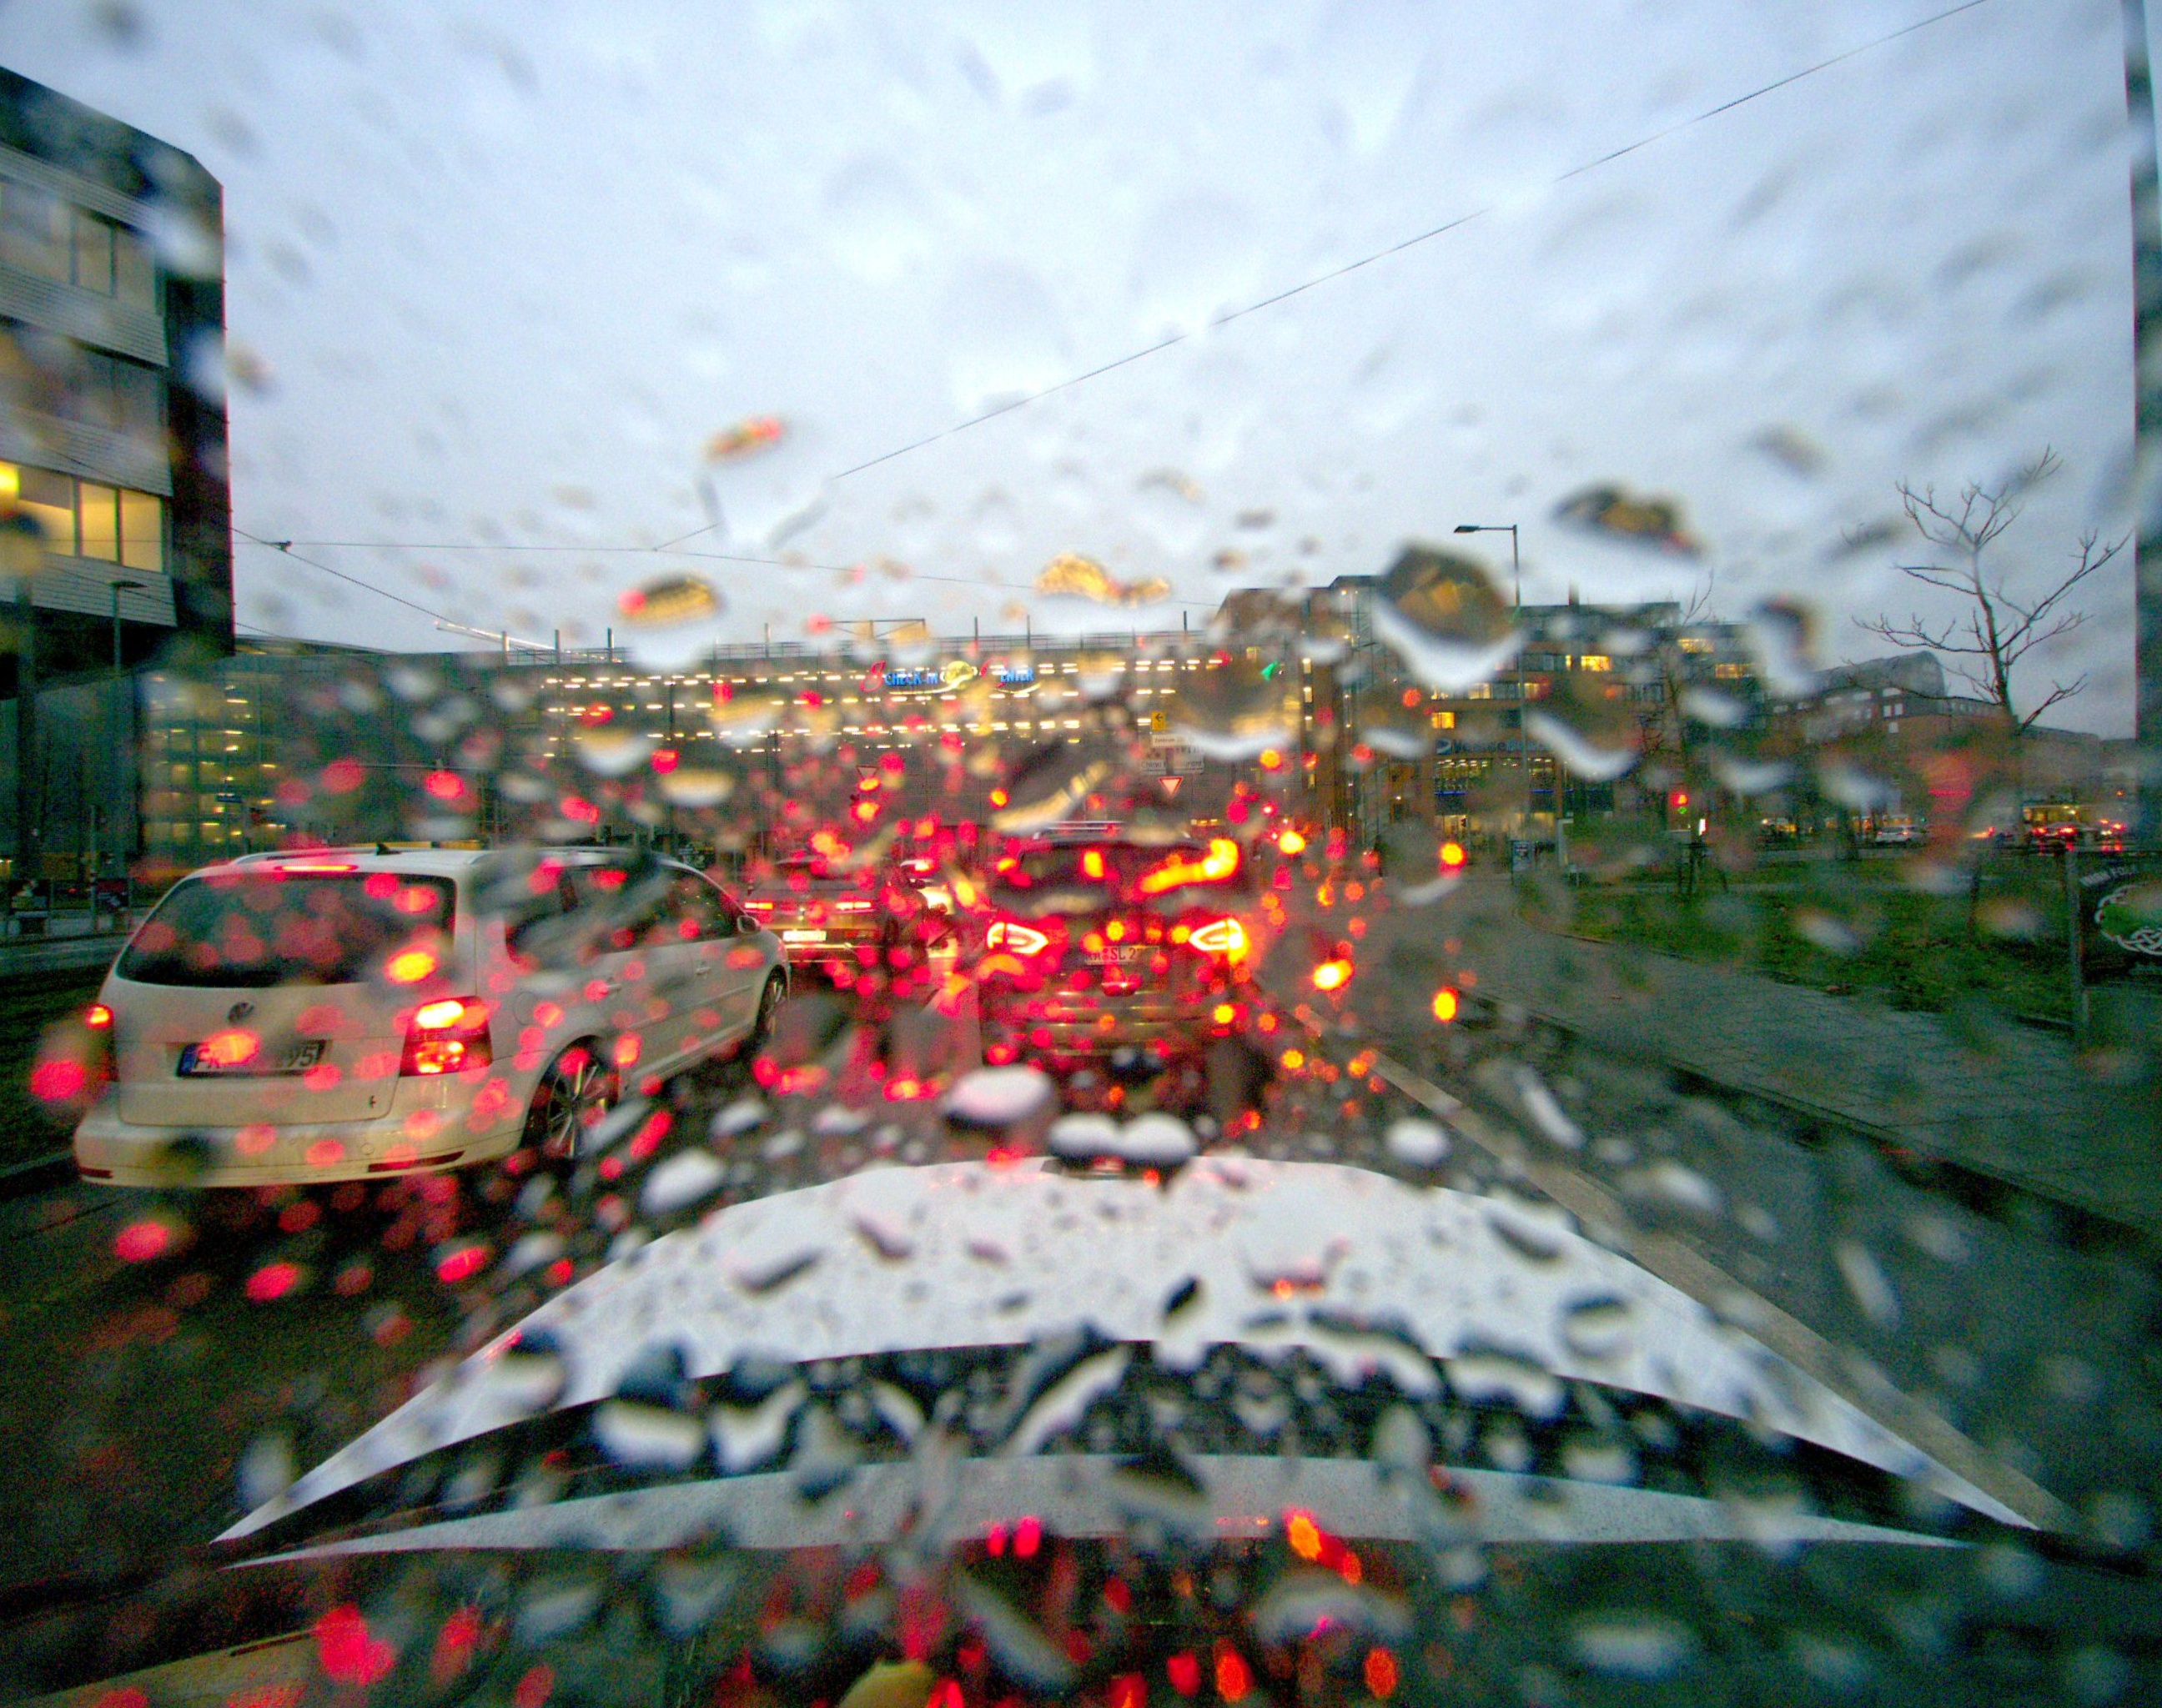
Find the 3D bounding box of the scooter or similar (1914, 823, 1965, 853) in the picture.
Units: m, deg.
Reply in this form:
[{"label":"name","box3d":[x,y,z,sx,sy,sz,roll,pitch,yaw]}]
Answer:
[{"label":"scooter or similar","box3d":[36.416,-0.663,34.548,1.548,1.227,0.669,0,-1,-4]}]

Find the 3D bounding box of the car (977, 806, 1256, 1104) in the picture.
[{"label":"car","box3d":[0.265,0.598,6.880,1.668,1.779,4.001,0,0,1]}]

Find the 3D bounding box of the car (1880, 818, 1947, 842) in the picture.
[{"label":"car","box3d":[56.466,-1.639,55.239,3.681,1.496,1.635,-2,0,-17]}]

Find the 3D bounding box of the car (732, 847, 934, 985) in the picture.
[{"label":"car","box3d":[-3.318,0.727,11.799,1.817,1.570,4.355,-2,0,-4]}]

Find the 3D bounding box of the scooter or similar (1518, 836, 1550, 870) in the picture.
[{"label":"scooter or similar","box3d":[16.956,-0.045,30.482,1.312,1.206,0.331,-2,0,-27]}]

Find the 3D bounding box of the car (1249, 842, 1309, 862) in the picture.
[{"label":"car","box3d":[16.085,-0.163,66.269,4.320,1.486,1.863,-2,0,-5]}]

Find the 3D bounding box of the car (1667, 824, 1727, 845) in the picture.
[{"label":"car","box3d":[55.577,-1.721,73.500,4.603,1.719,1.919,-2,0,-15]}]

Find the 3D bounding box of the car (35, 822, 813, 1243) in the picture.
[{"label":"car","box3d":[-3.282,0.696,5.334,1.666,1.599,4.221,-2,0,-1]}]

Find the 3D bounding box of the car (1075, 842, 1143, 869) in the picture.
[{"label":"car","box3d":[2.161,0.126,63.006,4.960,1.871,1.894,-2,0,-18]}]

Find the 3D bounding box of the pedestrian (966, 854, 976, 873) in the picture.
[{"label":"pedestrian","box3d":[-10.516,0.865,77.765,0.786,1.787,0.732,-2,0,-3]}]

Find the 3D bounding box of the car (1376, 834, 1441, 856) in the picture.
[{"label":"car","box3d":[26.924,-0.713,67.029,4.634,1.677,1.781,-2,0,-8]}]

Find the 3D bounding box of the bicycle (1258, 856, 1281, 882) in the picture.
[{"label":"bicycle","box3d":[7.348,0.569,31.784,0.651,0.973,1.870,-2,0,8]}]

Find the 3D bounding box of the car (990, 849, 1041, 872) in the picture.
[{"label":"car","box3d":[-5.672,0.574,70.718,4.351,1.871,1.902,-2,0,-5]}]

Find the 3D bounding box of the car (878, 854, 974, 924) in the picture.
[{"label":"car","box3d":[-3.598,0.759,19.575,1.754,1.463,3.912,-1,0,-4]}]

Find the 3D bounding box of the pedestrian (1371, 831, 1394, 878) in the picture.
[{"label":"pedestrian","box3d":[12.300,0.026,33.237,0.766,1.877,0.639,-2,0,24]}]

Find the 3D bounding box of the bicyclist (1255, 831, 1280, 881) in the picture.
[{"label":"bicyclist","box3d":[7.258,0.091,31.728,0.786,1.890,0.991,-2,0,7]}]

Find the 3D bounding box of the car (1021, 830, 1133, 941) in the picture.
[{"label":"car","box3d":[-0.154,0.512,15.916,1.839,1.806,4.482,-2,0,-3]}]

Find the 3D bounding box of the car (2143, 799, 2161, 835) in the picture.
[{"label":"car","box3d":[87.490,-2.977,64.384,6.356,2.827,2.348,-2,0,-19]}]

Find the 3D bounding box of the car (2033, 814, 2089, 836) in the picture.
[{"label":"car","box3d":[71.423,-2.099,59.374,3.470,1.520,1.513,-1,0,-19]}]

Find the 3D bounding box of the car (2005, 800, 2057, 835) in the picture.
[{"label":"car","box3d":[83.048,-3.173,71.190,6.386,2.827,2.337,-2,0,-35]}]

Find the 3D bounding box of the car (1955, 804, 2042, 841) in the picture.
[{"label":"car","box3d":[64.782,-2.197,57.481,5.975,2.427,1.986,-2,0,-20]}]

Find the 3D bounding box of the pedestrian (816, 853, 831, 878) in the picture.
[{"label":"pedestrian","box3d":[-24.991,1.105,78.960,1.106,2.439,0.966,0,-1,1]}]
